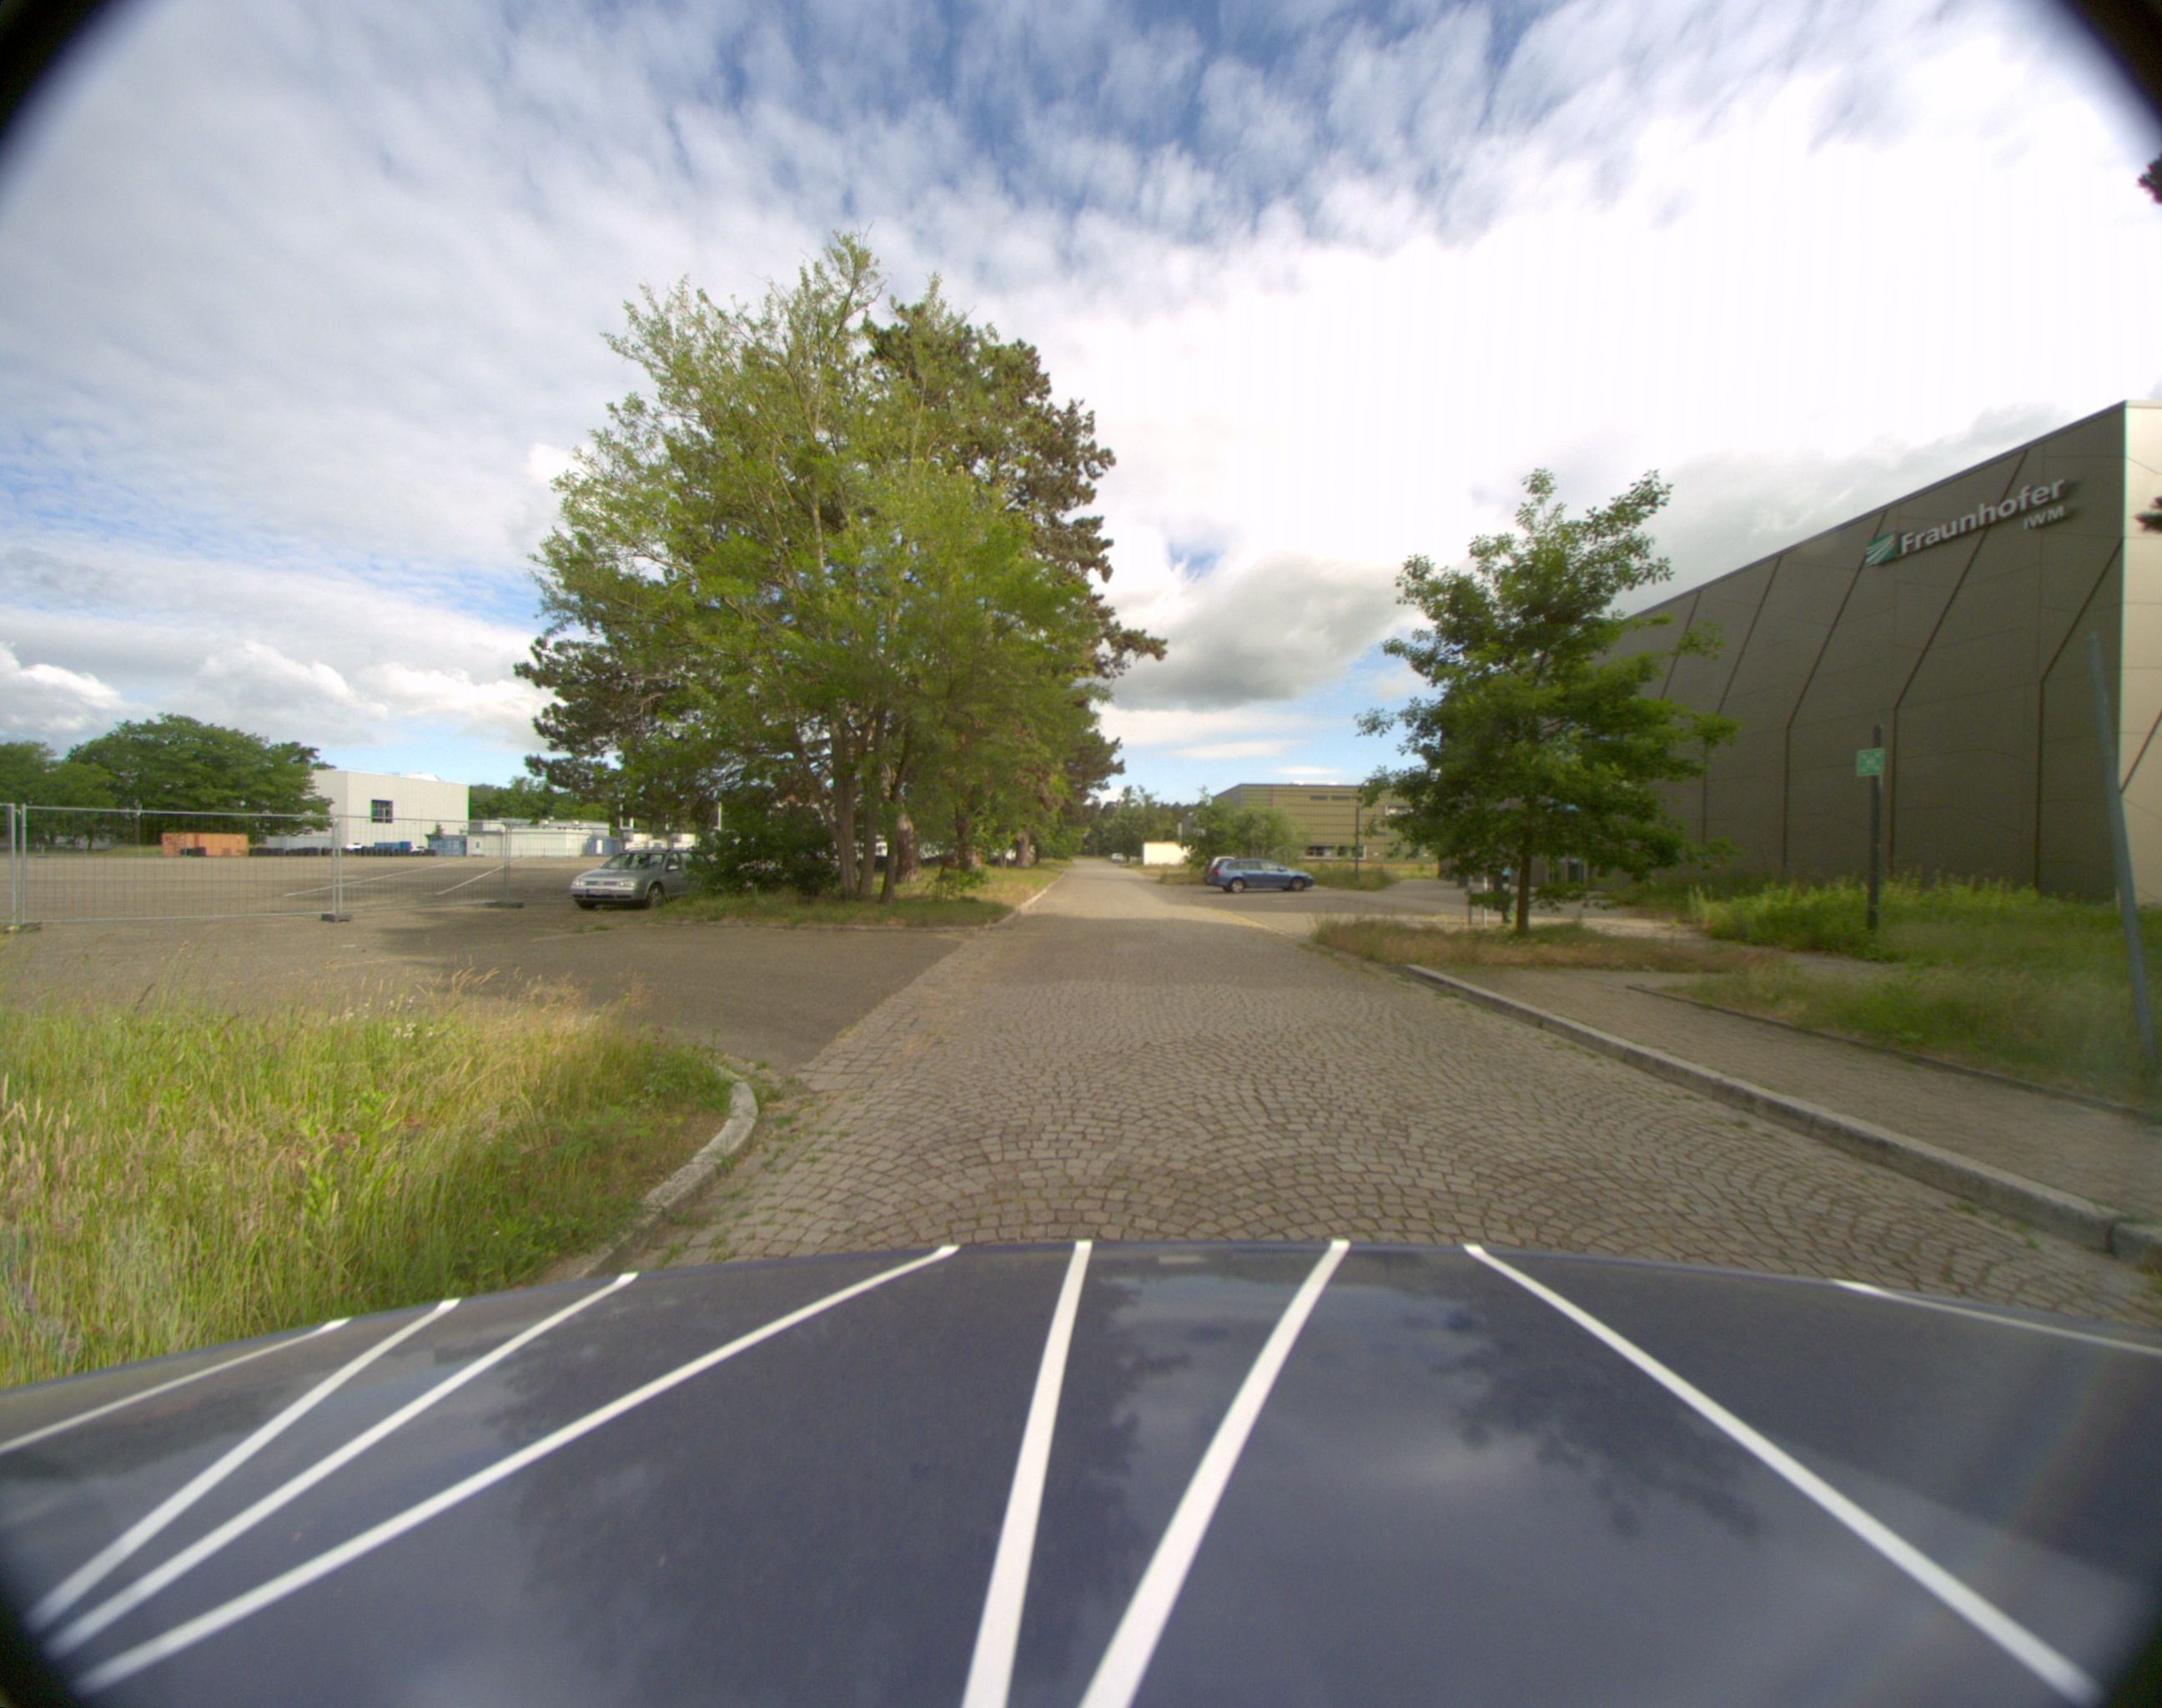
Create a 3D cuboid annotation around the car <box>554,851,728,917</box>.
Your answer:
[{"bbox_3d":[-10.812,0.660,19.087,1.759,1.440,4.327,1,0,2],"label":"car"}]

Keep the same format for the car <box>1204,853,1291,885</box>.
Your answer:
[{"bbox_3d":[8.856,0.782,40.732,4.400,1.537,1.842,-2,0,7],"label":"car"}]

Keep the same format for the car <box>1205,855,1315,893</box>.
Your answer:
[{"bbox_3d":[7.820,0.865,33.431,4.404,1.501,1.716,-2,1,-2],"label":"car"}]
